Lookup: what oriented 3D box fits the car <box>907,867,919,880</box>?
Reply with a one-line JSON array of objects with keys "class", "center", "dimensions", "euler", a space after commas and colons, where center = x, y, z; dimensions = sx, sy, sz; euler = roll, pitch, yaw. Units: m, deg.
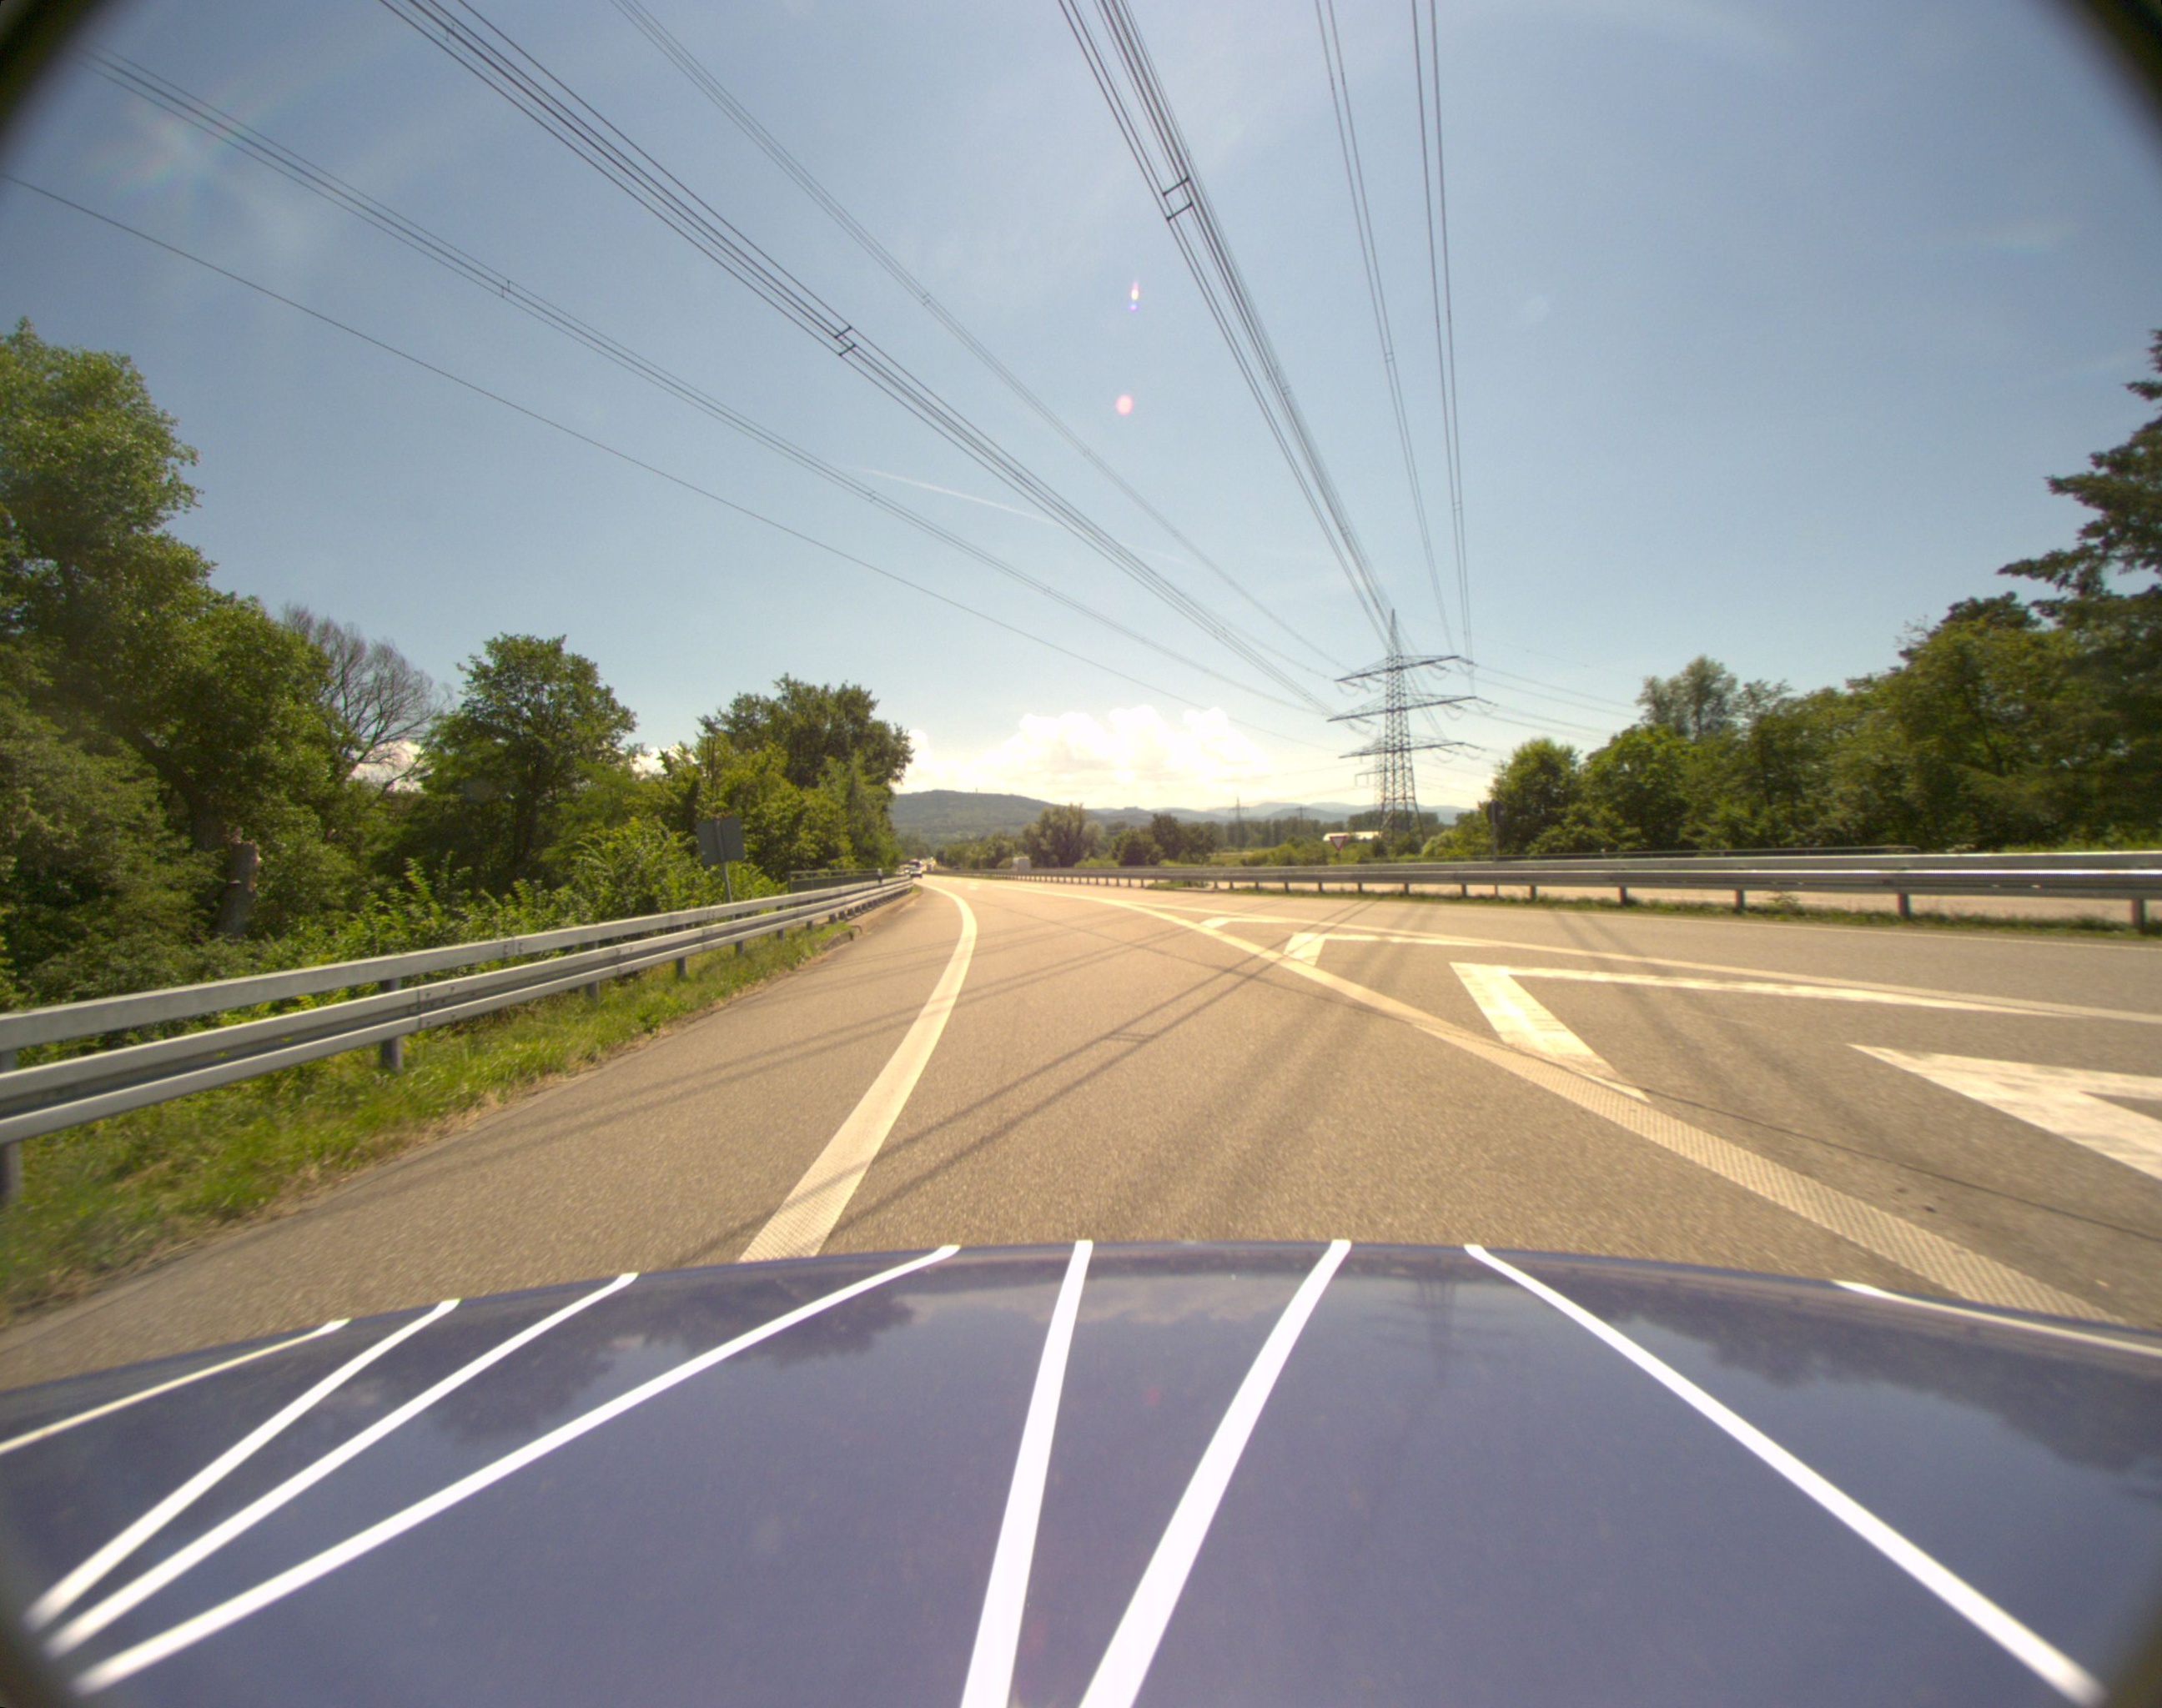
[{"class": "car", "center": [-27.744, 3.196, 125.513], "dimensions": [1.621, 2.085, 3.482], "euler": [-2, 0, -10]}]

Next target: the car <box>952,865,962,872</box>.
[{"class": "car", "center": [-33.476, 3.910, 204.465], "dimensions": [1.898, 1.980, 5.525], "euler": [-1, -1, -17]}]

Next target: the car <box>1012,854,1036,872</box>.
[{"class": "car", "center": [-8.536, 1.376, 113.382], "dimensions": [2.533, 2.602, 7.179], "euler": [0, -1, -12]}]

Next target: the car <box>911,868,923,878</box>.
[{"class": "car", "center": [-23.698, 2.725, 109.943], "dimensions": [1.579, 1.386, 3.482], "euler": [-2, 0, -10]}]
